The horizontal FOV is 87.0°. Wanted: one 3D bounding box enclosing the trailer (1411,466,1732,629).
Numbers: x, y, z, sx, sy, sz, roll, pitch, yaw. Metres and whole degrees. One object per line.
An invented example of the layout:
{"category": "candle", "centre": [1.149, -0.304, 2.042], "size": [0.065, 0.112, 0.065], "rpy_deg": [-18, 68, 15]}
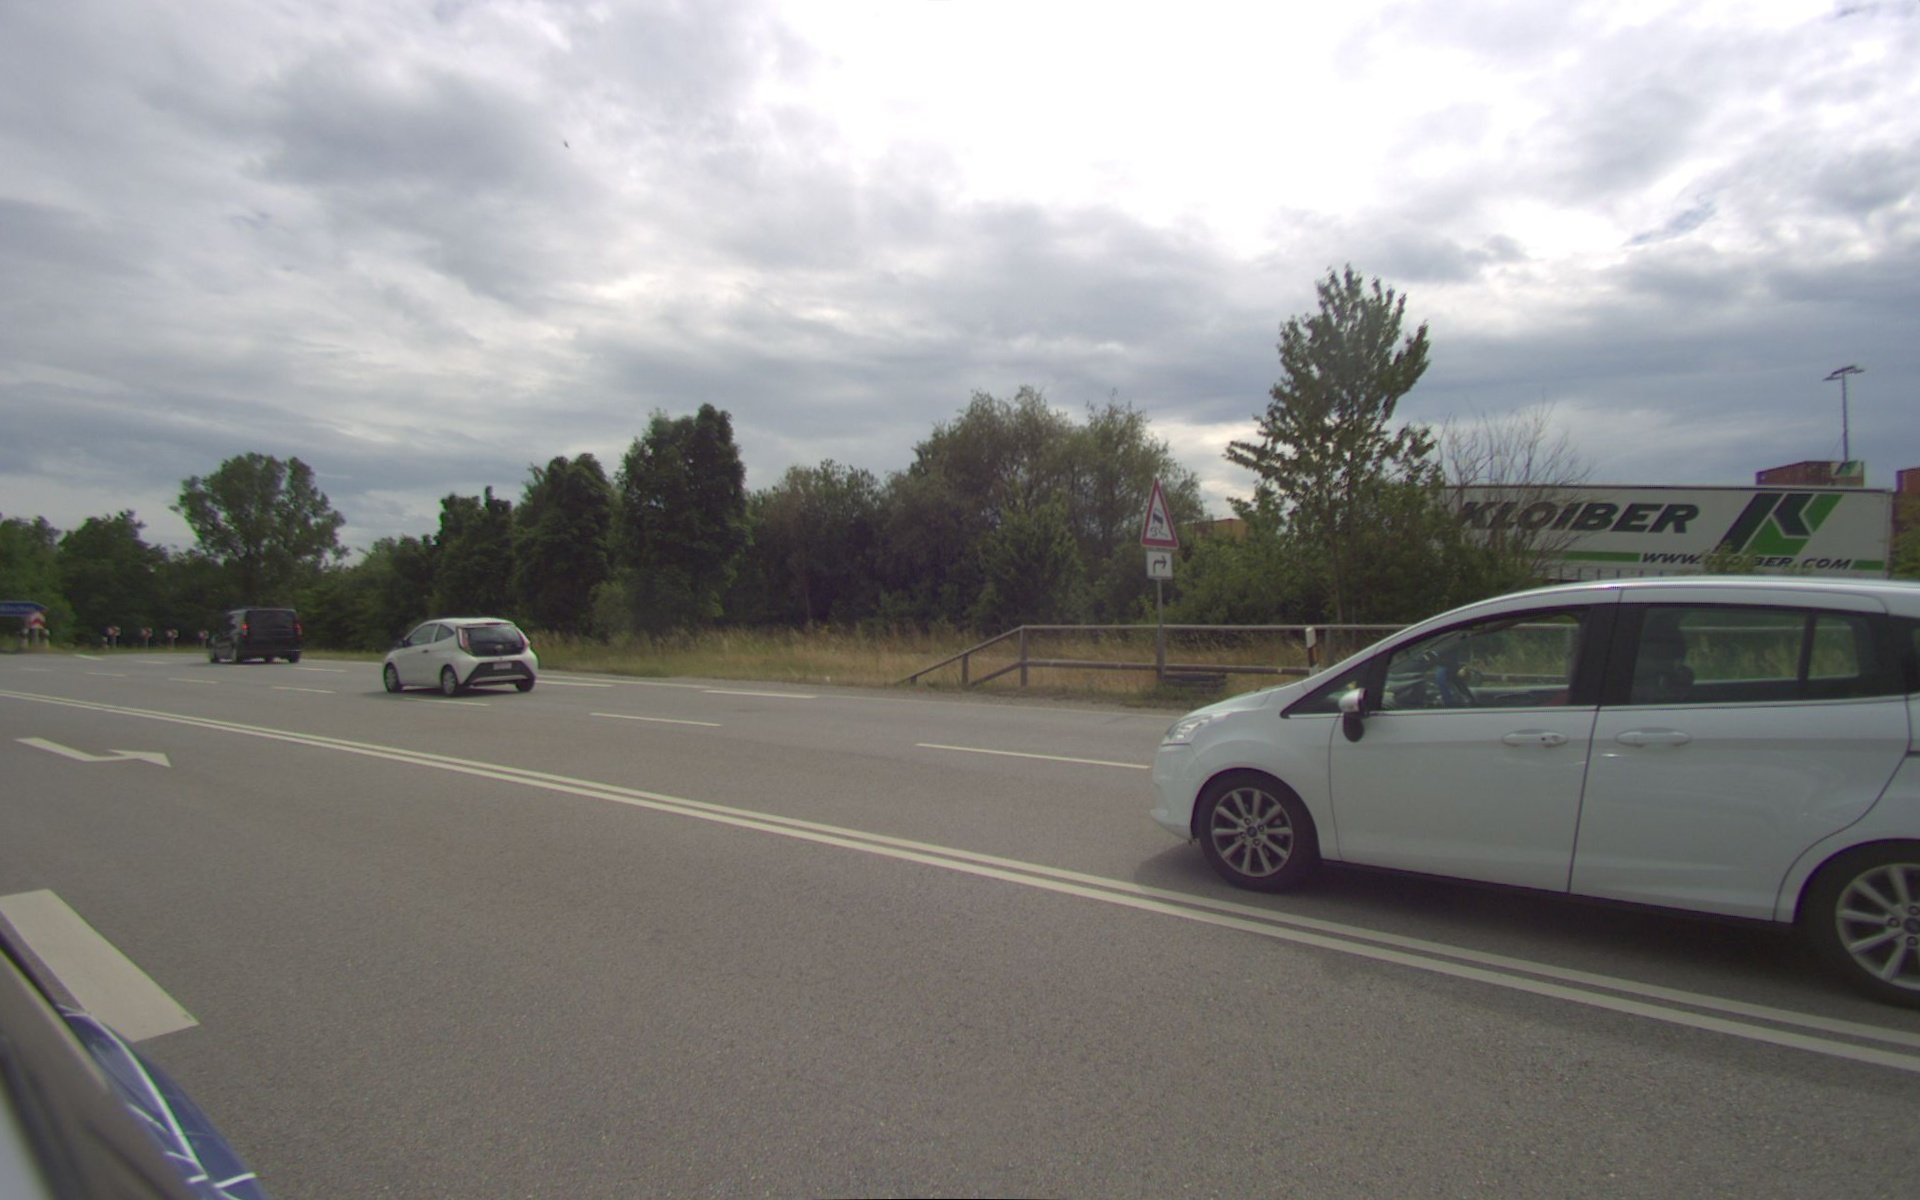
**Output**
{"category": "trailer", "centre": [20.607, -1.625, 34.864], "size": [8.914, 5.034, 2.789], "rpy_deg": [-2, 0, 20]}

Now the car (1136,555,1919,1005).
{"category": "car", "centre": [3.023, 0.629, 4.765], "size": [3.997, 1.529, 1.713], "rpy_deg": [-2, -1, 40]}

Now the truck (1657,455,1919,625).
{"category": "truck", "centre": [26.653, -1.787, 32.695], "size": [6.142, 5.034, 2.787], "rpy_deg": [-2, 0, 20]}

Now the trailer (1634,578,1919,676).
{"category": "trailer", "centre": [39.000, 1.339, 49.002], "size": [10.374, 4.325, 3.206], "rpy_deg": [-2, -1, 33]}

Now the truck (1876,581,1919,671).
{"category": "truck", "centre": [48.308, 1.211, 49.456], "size": [4.790, 4.325, 2.196], "rpy_deg": [-1, -1, 3]}

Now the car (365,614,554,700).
{"category": "car", "centre": [-9.893, 1.081, 19.929], "size": [3.737, 1.500, 1.859], "rpy_deg": [-2, -1, 37]}

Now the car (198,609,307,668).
{"category": "car", "centre": [-23.558, 1.258, 33.653], "size": [4.317, 1.811, 1.973], "rpy_deg": [-2, -1, 41]}
